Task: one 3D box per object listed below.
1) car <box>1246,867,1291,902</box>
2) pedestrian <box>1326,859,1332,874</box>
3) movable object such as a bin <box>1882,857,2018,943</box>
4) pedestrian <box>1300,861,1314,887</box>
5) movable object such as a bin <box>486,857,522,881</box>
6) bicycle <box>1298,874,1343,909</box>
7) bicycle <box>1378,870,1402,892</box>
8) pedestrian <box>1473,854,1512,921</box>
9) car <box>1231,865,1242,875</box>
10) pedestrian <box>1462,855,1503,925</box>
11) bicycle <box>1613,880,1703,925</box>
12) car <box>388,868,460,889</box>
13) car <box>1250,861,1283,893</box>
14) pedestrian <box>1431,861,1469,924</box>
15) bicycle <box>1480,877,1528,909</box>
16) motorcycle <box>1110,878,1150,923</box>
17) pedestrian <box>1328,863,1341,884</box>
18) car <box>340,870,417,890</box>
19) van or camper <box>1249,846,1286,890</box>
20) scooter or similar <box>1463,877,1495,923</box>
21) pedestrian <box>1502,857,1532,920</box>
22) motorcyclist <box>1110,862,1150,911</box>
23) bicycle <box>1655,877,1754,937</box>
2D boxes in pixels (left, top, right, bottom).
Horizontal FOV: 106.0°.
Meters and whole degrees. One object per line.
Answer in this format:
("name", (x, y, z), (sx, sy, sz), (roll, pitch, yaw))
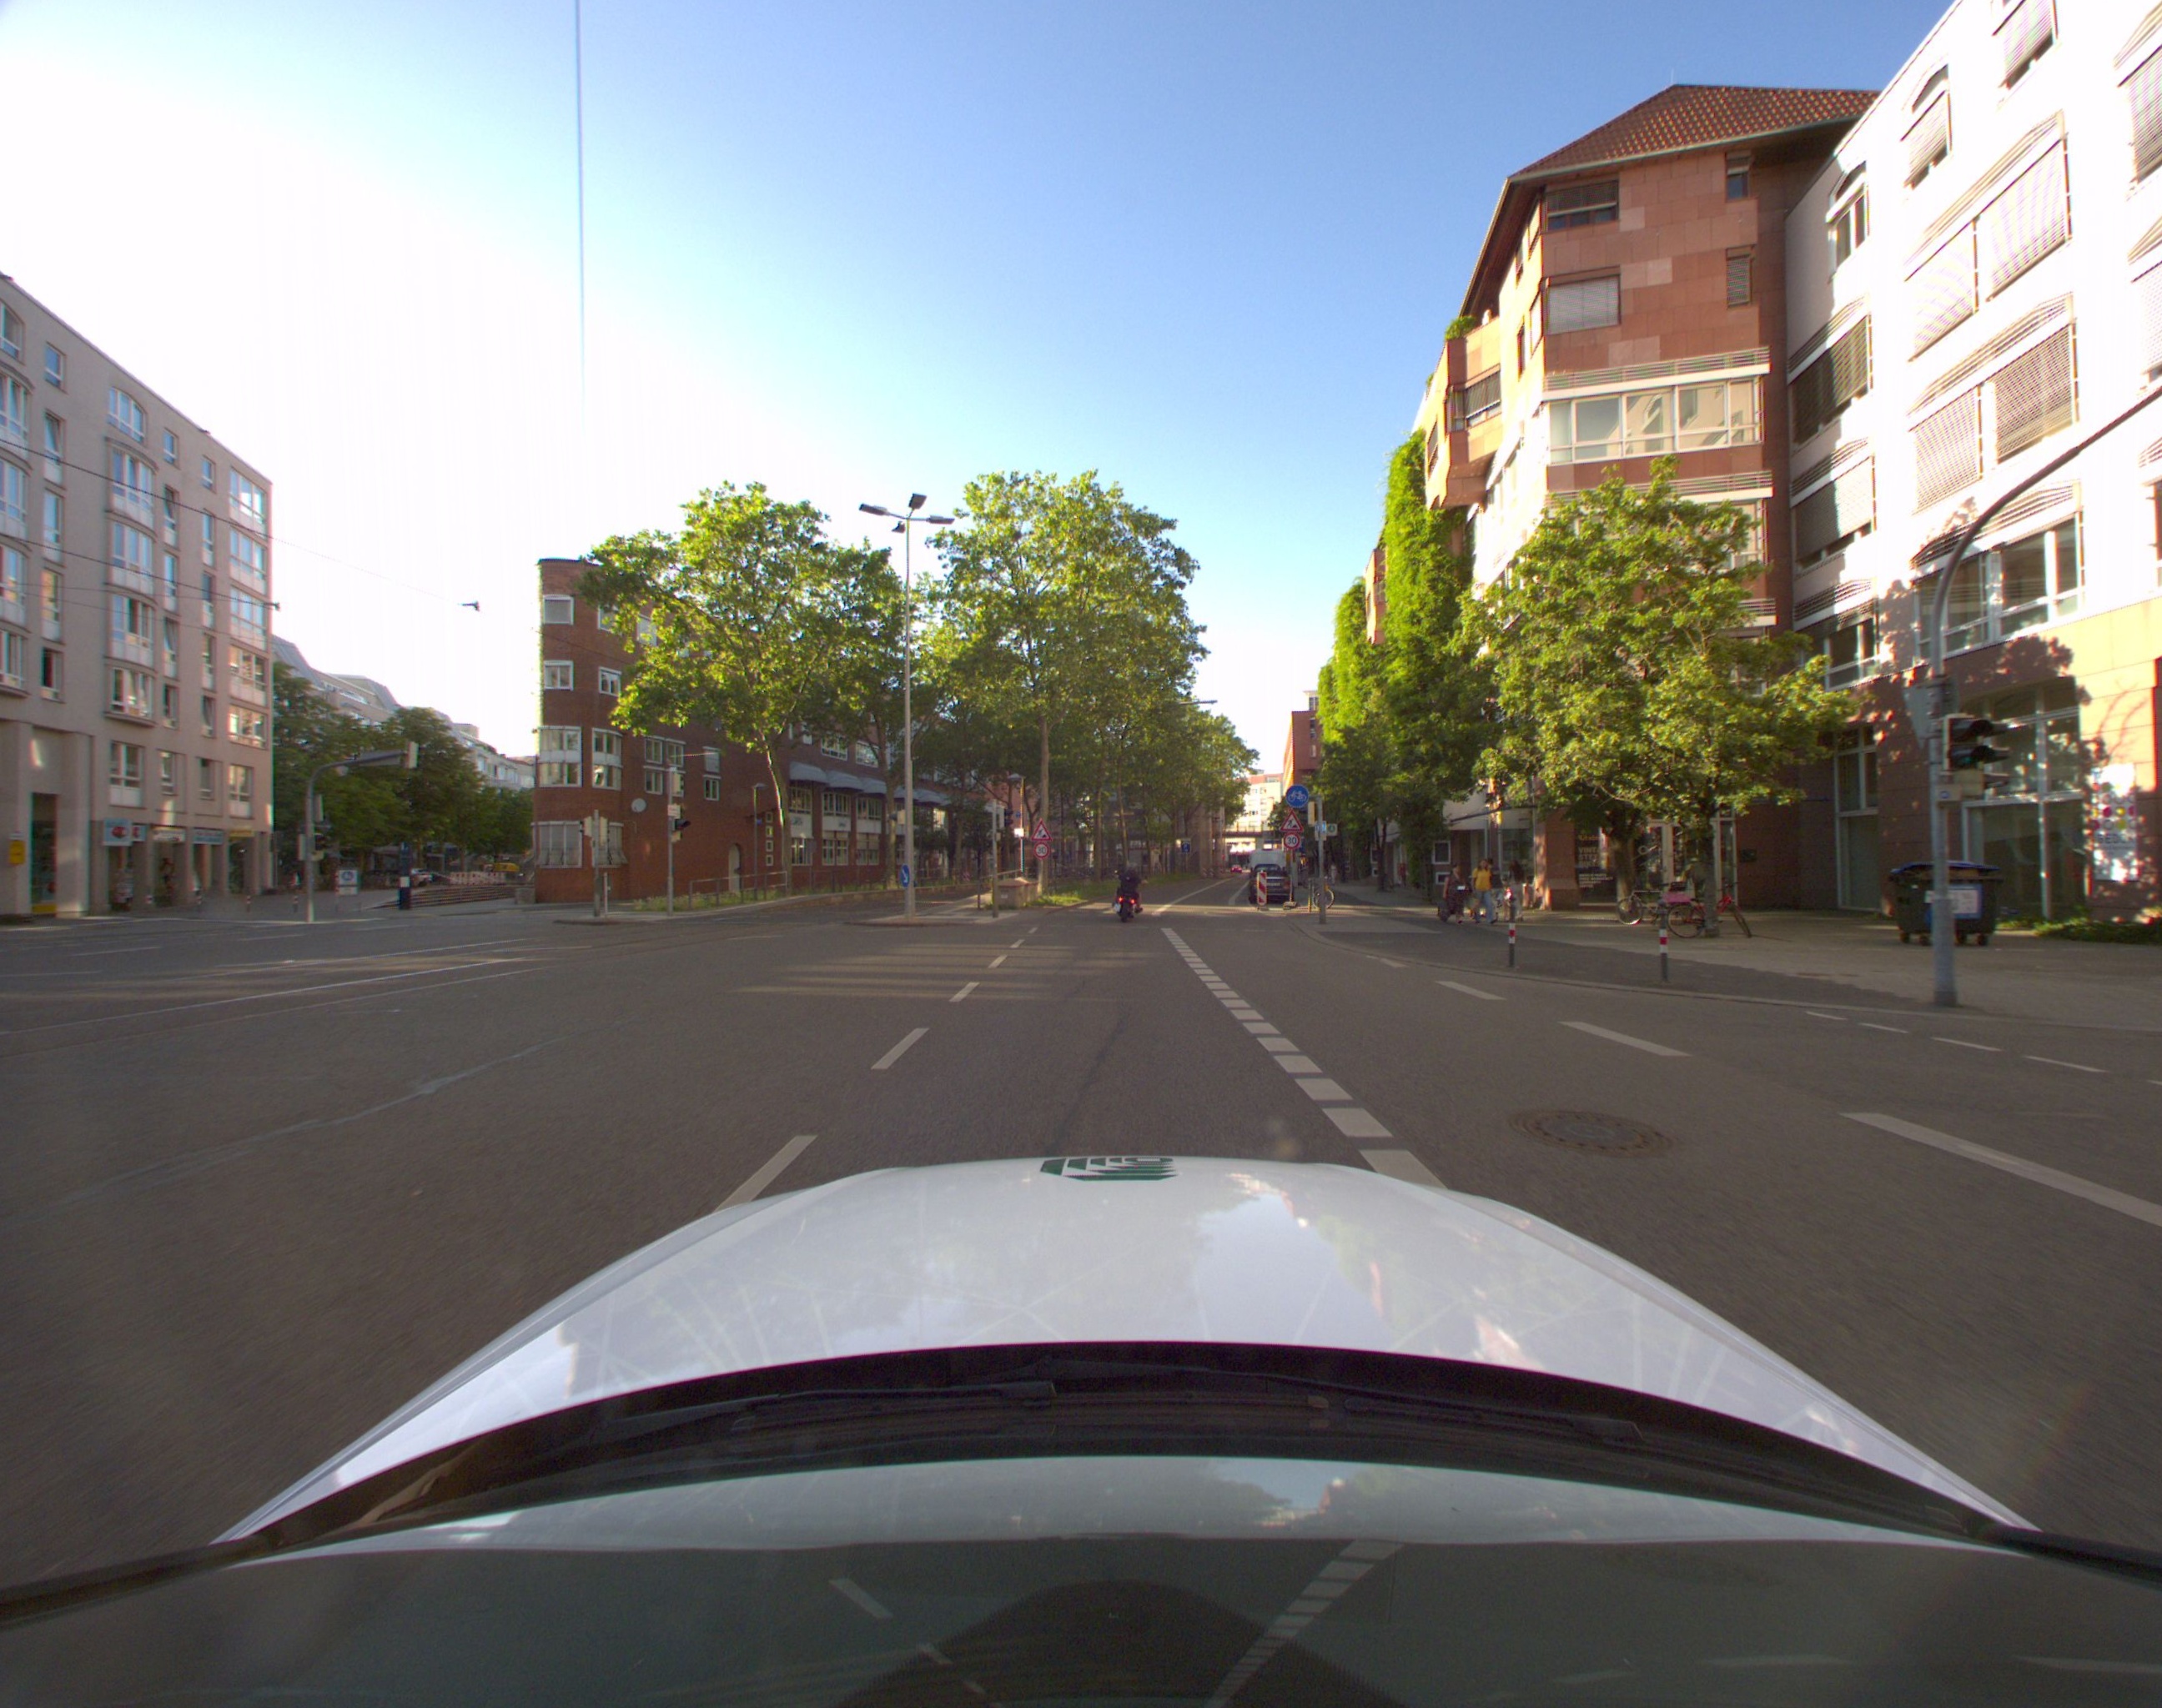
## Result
("car", (7.660, 1.232, 33.550), (1.610, 1.302, 4.324), (-1, -1, 11))
("pedestrian", (27.479, 1.410, 90.214), (0.448, 1.627, 0.375), (-1, -1, 0))
("movable object such as a bin", (15.513, 0.808, 14.584), (1.400, 1.482, 0.875), (-1, -1, 13))
("pedestrian", (14.392, 1.255, 51.852), (0.759, 1.645, 0.548), (-1, -1, 4))
("movable object such as a bin", (-56.931, 1.425, 80.388), (1.928, 2.310, 2.776), (-1, -1, -13))
("bicycle", (7.716, 1.195, 26.326), (0.736, 1.053, 1.748), (-1, -1, -7))
("bicycle", (15.580, 1.347, 41.137), (0.614, 1.020, 1.916), (-1, -1, 5))
("pedestrian", (11.101, 0.897, 21.984), (0.781, 1.763, 0.611), (-1, -1, 9))
("car", (27.685, 2.892, 145.099), (1.841, 1.717, 4.010), (-1, -1, 9))
("pedestrian", (10.185, 0.908, 20.694), (0.697, 1.733, 0.769), (-1, -1, 5))
("bicycle", (14.203, 1.182, 20.109), (1.730, 1.053, 0.744), (-1, -1, 29))
("car", (-51.714, 1.870, 64.160), (1.980, 1.556, 4.014), (-1, -1, 13))
("car", (9.839, 1.200, 43.406), (1.609, 1.619, 4.499), (-1, -1, 12))
("pedestrian", (9.430, 0.979, 20.835), (0.641, 1.578, 0.749), (-1, -1, 6))
("bicycle", (13.182, 1.201, 25.414), (0.733, 0.939, 1.755), (-1, -1, 6))
("motorcycle", (1.293, 1.216, 21.814), (1.014, 1.097, 2.009), (0, 0, 3))
("pedestrian", (16.968, 1.297, 54.554), (0.760, 1.445, 0.783), (0, -1, 14))
("car", (-51.722, 1.890, 60.050), (4.013, 1.400, 1.980), (0, -1, -32))
("van or camper", (11.359, 0.836, 49.798), (2.035, 2.541, 5.792), (-1, -1, 12))
("scooter or similar", (10.750, 1.229, 22.044), (0.392, 1.158, 1.252), (-1, -1, 8))
("pedestrian", (11.823, 0.929, 22.082), (0.457, 1.672, 0.681), (-1, -1, 5))
("motorcyclist", (1.314, 0.870, 21.947), (1.008, 1.263, 0.774), (2, 0, 2))
("bicycle", (13.112, 1.104, 17.151), (1.558, 1.227, 0.579), (-1, -1, 7))
